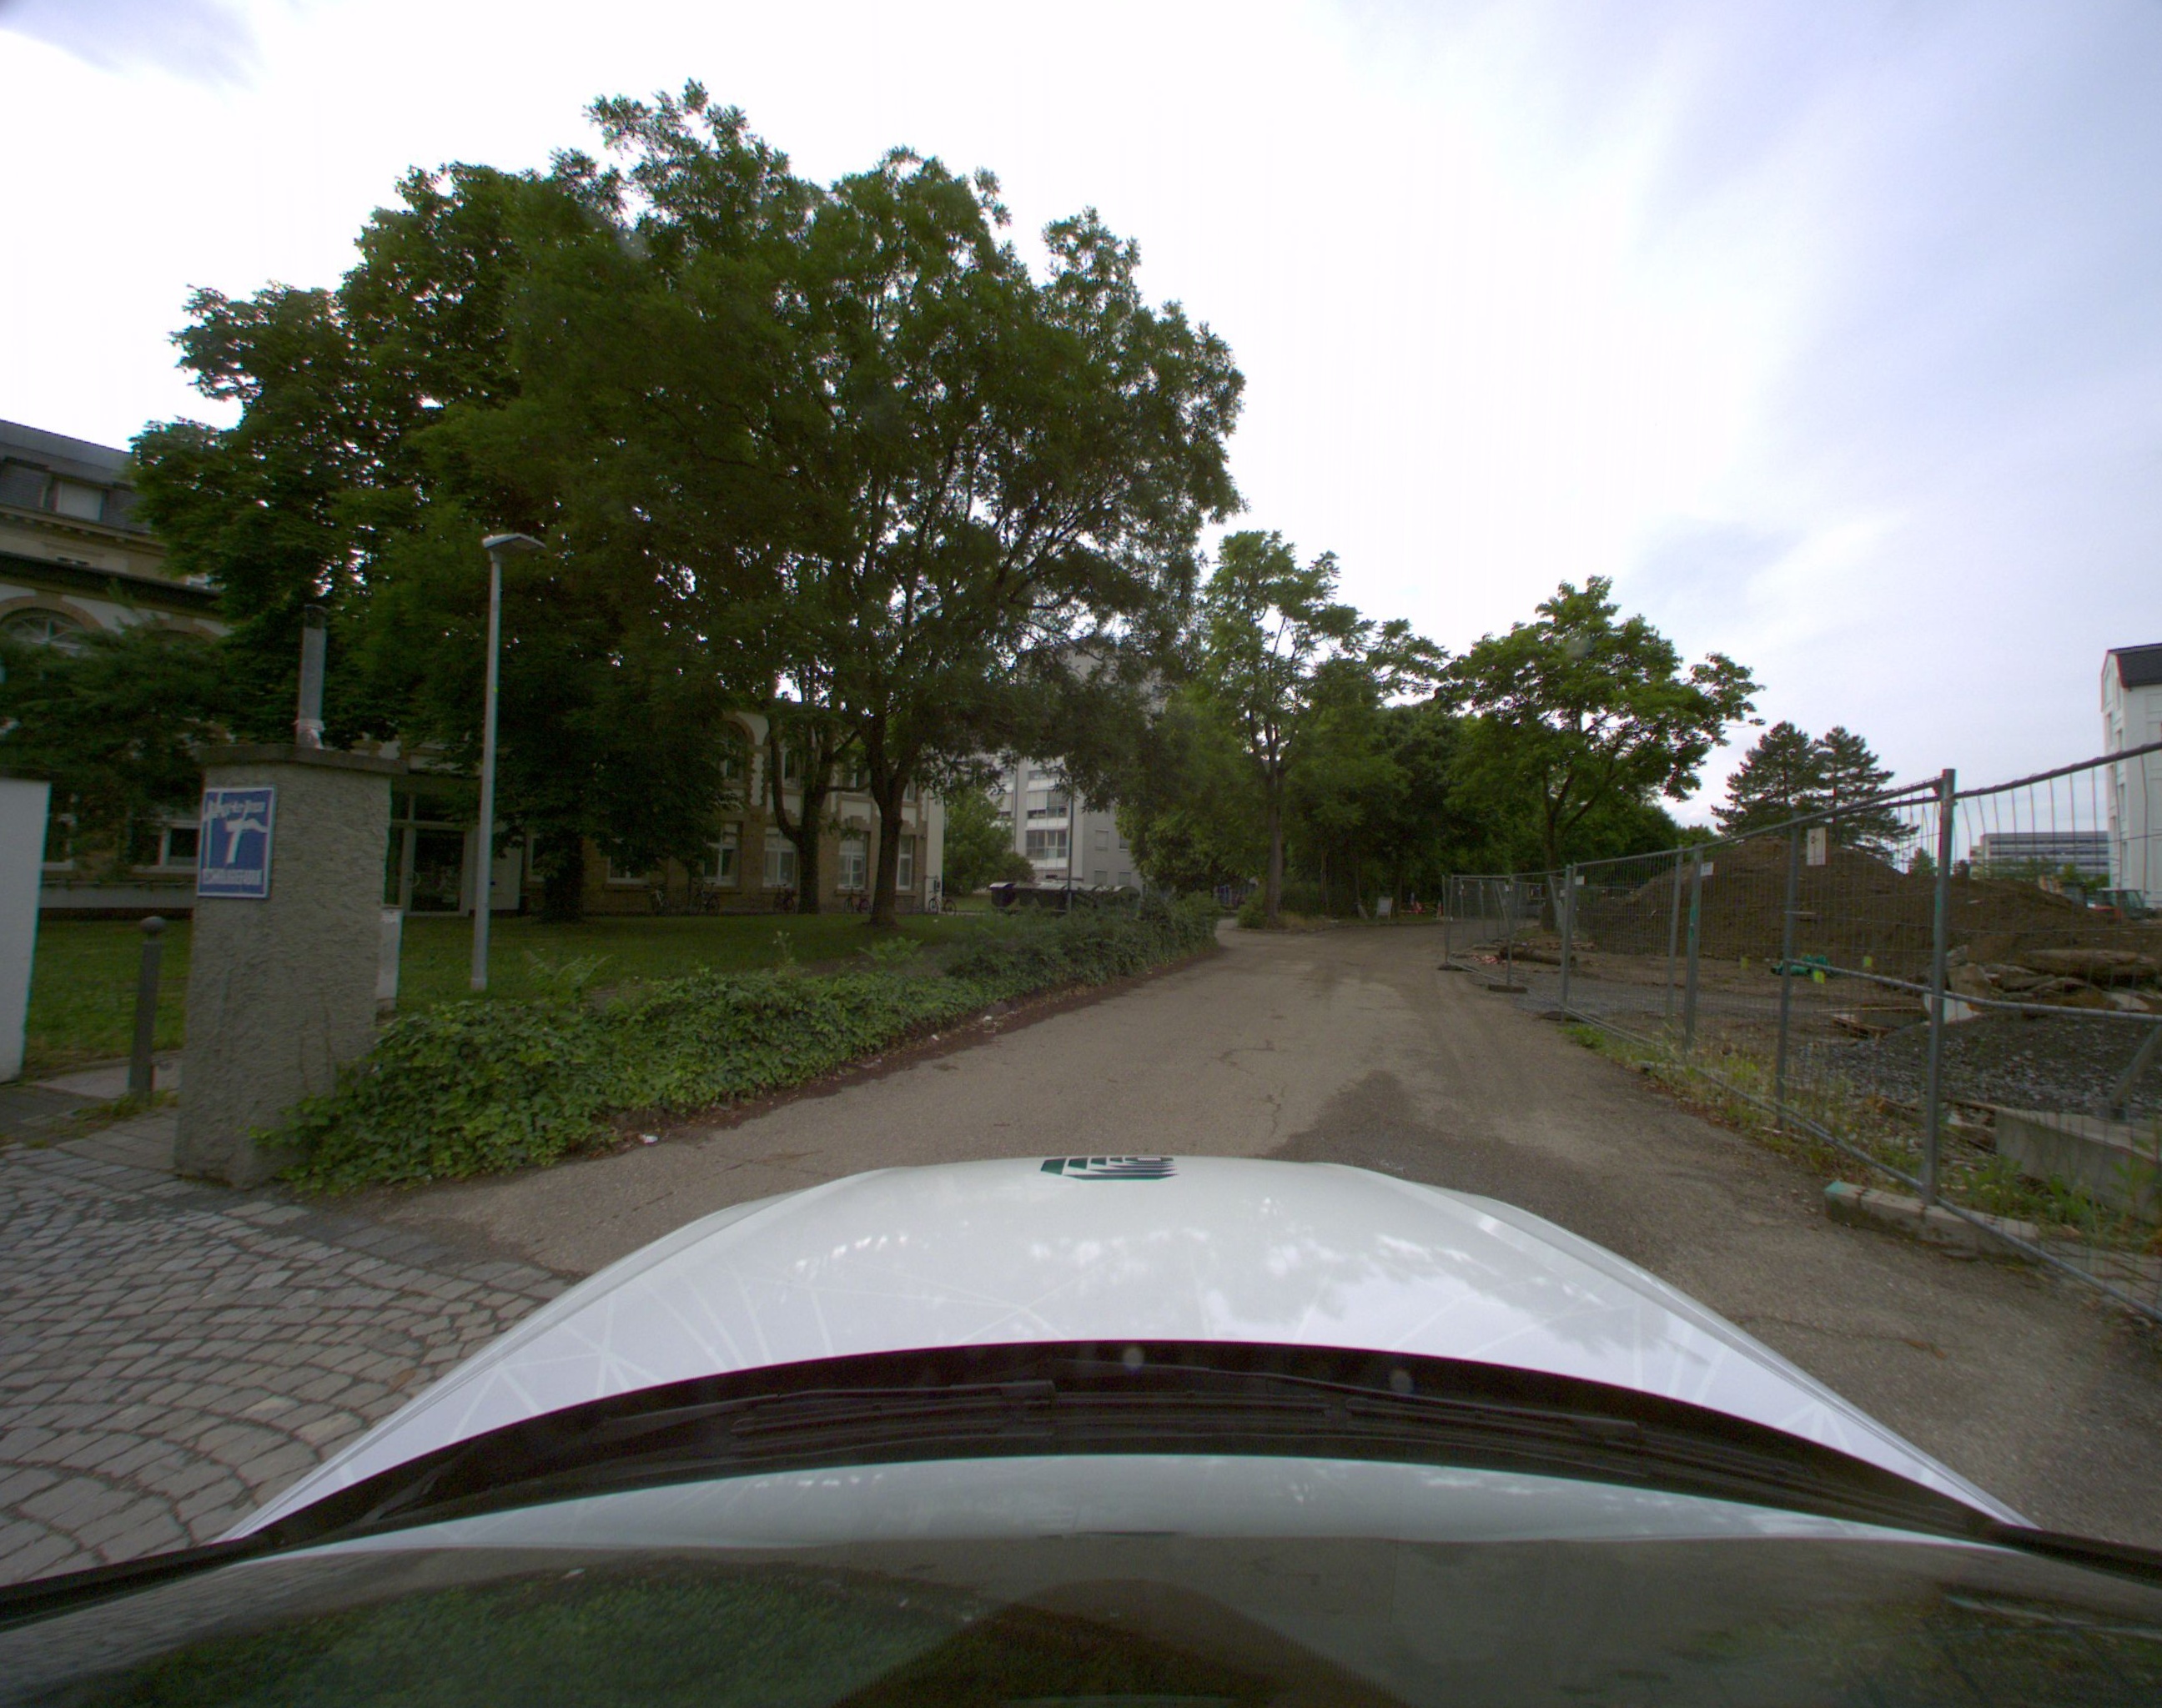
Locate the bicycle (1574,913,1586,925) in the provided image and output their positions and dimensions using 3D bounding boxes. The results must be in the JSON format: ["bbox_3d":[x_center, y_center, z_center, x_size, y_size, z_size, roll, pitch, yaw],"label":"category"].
[{"bbox_3d":[40.579,5.279,66.255,0.763,0.978,2.044,0,-3,34],"label":"bicycle"}]

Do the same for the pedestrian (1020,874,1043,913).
[{"bbox_3d":[-2.332,1.884,38.373,0.689,1.809,0.761,-3,-5,41],"label":"pedestrian"}]

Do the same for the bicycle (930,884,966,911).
[{"bbox_3d":[-5.429,1.759,33.078,1.805,1.066,0.398,-1,-4,44],"label":"bicycle"}]

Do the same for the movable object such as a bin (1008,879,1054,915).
[{"bbox_3d":[-1.866,1.605,30.538,1.336,1.265,1.062,0,-3,37],"label":"movable object such as a bin"}]

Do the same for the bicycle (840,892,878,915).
[{"bbox_3d":[-8.269,1.829,30.296,0.622,0.814,1.922,3,-3,-38],"label":"bicycle"}]

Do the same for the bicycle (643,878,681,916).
[{"bbox_3d":[-13.155,1.326,25.557,0.622,1.120,2.196,3,-3,-38],"label":"bicycle"}]

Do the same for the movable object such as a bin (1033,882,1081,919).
[{"bbox_3d":[-0.854,1.660,29.421,1.336,1.265,1.062,0,-3,40],"label":"movable object such as a bin"}]

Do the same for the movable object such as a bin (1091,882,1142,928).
[{"bbox_3d":[1.191,1.708,27.364,1.060,1.450,1.340,4,-2,-36],"label":"movable object such as a bin"}]

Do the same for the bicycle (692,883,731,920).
[{"bbox_3d":[-12.023,1.527,26.454,0.622,1.120,2.196,3,-3,-38],"label":"bicycle"}]

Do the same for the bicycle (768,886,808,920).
[{"bbox_3d":[-10.191,1.679,28.308,0.622,1.120,2.196,3,-3,-38],"label":"bicycle"}]

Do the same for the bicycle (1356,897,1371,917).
[{"bbox_3d":[13.177,2.472,37.973,0.414,0.906,1.160,1,-3,29],"label":"bicycle"}]

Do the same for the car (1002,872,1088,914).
[{"bbox_3d":[-1.760,2.016,41.449,1.830,2.014,4.377,-2,-5,41],"label":"car"}]

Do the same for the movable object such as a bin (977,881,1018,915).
[{"bbox_3d":[-3.230,1.696,31.270,1.059,1.265,1.340,3,-3,-32],"label":"movable object such as a bin"}]
